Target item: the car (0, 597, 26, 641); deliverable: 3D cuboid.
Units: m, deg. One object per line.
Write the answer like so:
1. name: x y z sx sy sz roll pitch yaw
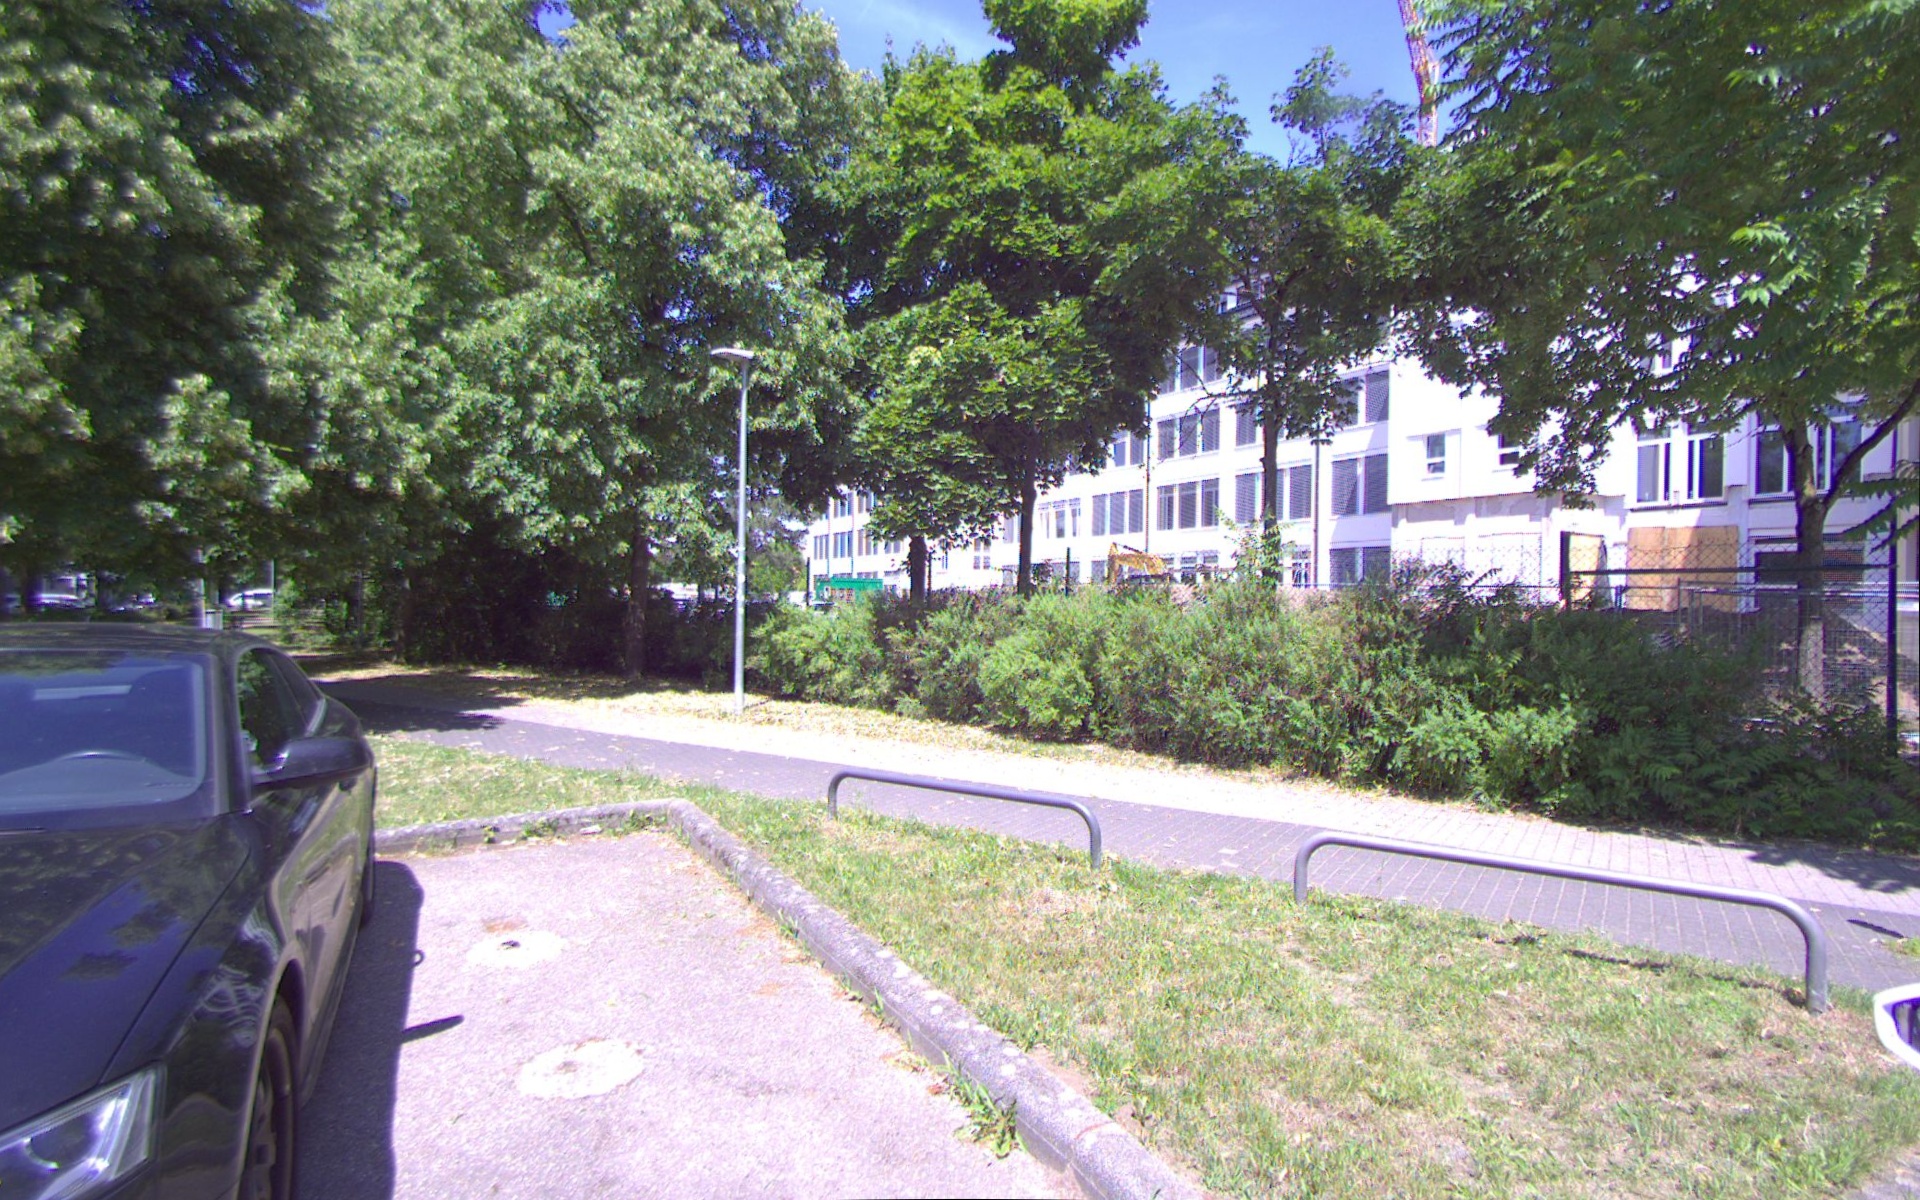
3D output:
1. car: -37.947 0.671 37.402 4.293 1.631 1.917 2 -1 -32

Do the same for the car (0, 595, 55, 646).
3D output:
1. car: -39.620 0.816 40.767 3.956 2.040 1.983 2 -1 -32

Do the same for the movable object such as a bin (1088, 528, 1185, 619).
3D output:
1. movable object such as a bin: 9.131 -1.286 52.530 1.973 4.430 5.687 1 0 -25

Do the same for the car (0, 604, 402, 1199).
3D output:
1. car: -2.820 0.735 2.805 1.997 1.398 4.413 -1 0 -27
